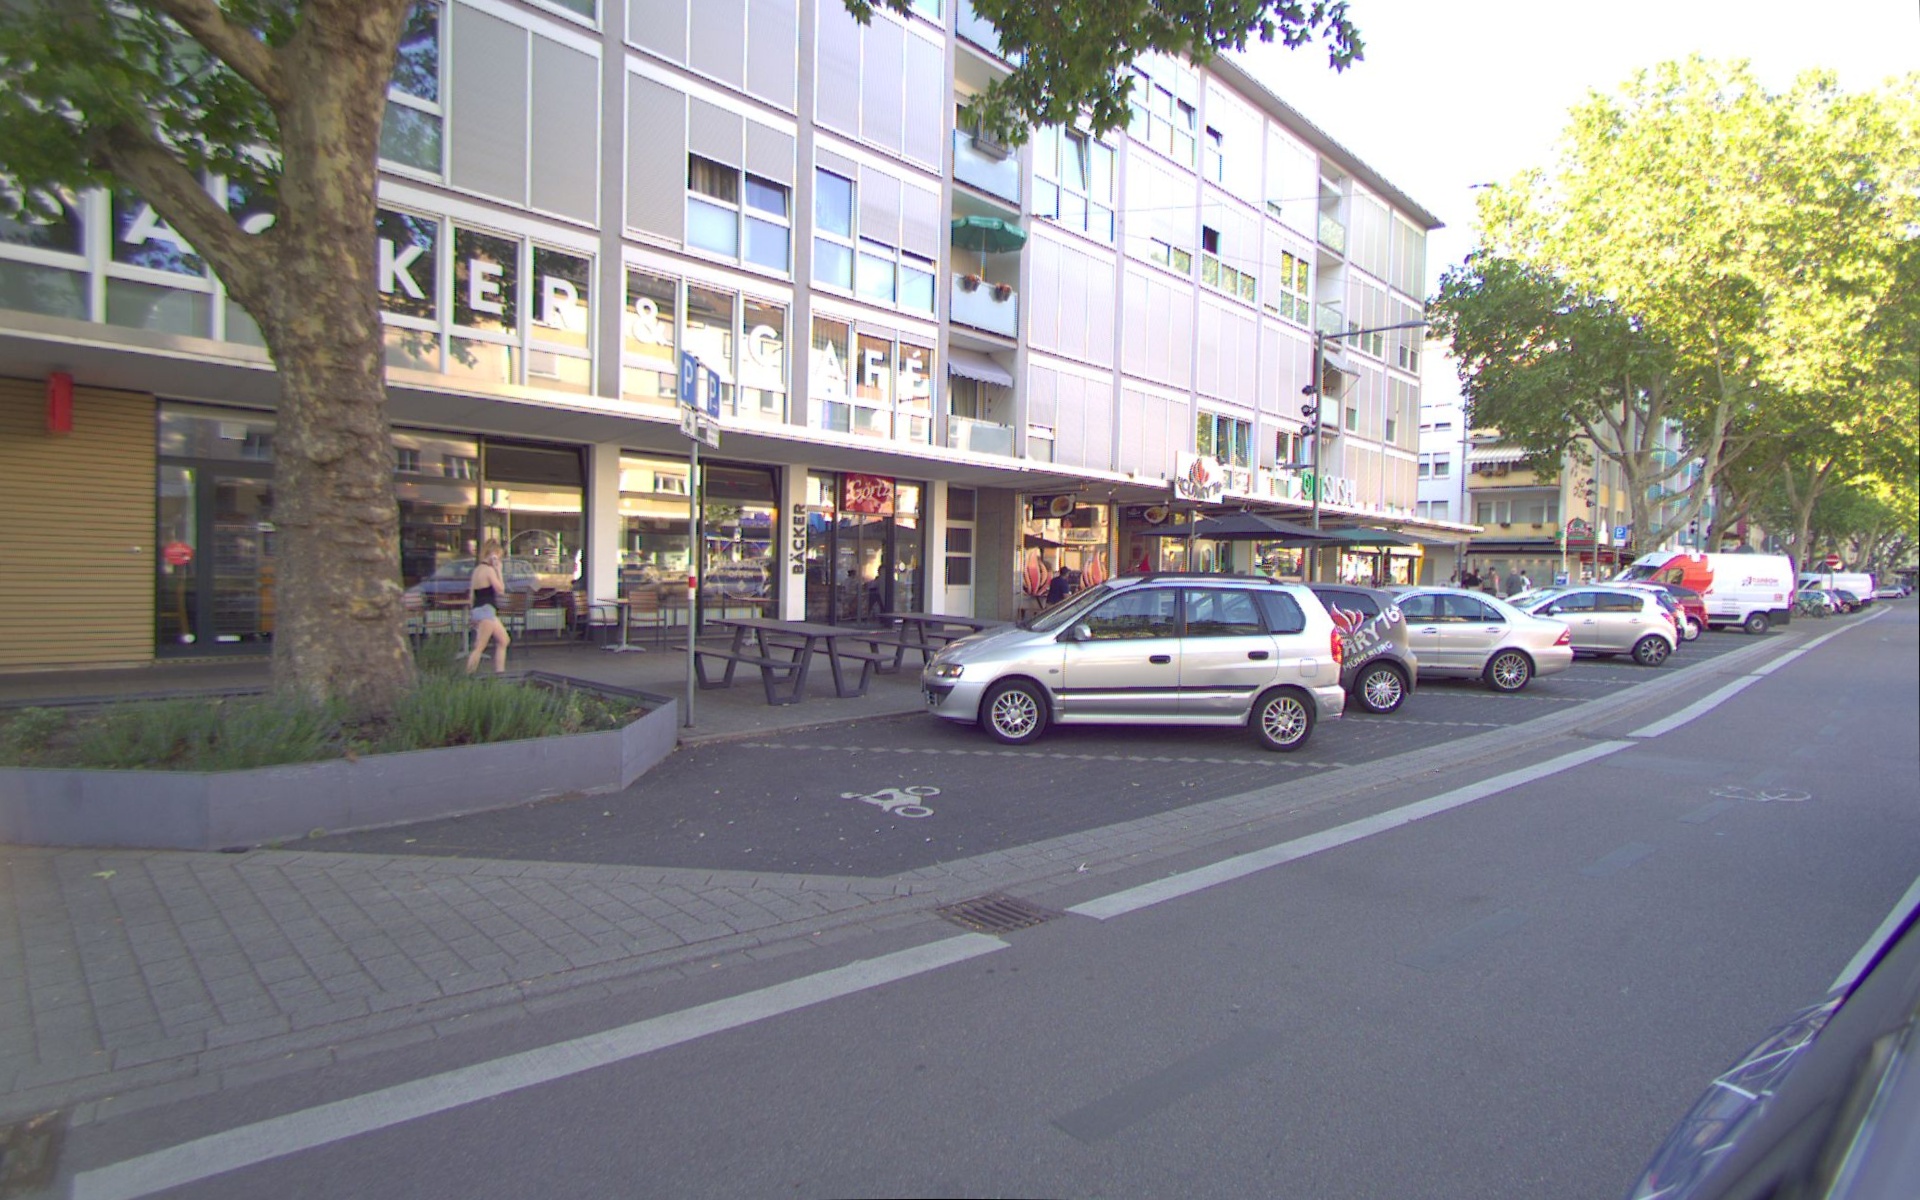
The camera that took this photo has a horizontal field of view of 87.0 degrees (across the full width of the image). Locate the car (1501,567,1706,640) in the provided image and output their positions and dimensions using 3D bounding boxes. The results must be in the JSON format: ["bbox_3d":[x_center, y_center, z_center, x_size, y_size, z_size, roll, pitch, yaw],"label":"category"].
[{"bbox_3d":[15.898,0.047,25.215,3.888,1.445,1.669,4,5,17],"label":"car"}]

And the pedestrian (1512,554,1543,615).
[{"bbox_3d":[19.267,-0.518,34.385,0.746,2.038,0.550,3,2,45],"label":"pedestrian"}]

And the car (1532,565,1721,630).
[{"bbox_3d":[18.074,-0.104,27.642,3.888,1.445,1.669,4,5,17],"label":"car"}]

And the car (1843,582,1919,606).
[{"bbox_3d":[56.529,-0.376,61.577,3.864,1.350,1.782,1,2,3],"label":"car"}]

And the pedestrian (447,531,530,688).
[{"bbox_3d":[-4.985,0.083,10.704,0.559,1.596,0.632,2,2,44],"label":"pedestrian"}]

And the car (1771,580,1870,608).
[{"bbox_3d":[48.057,-0.352,56.589,3.864,1.422,1.782,1,2,3],"label":"car"}]

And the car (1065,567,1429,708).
[{"bbox_3d":[3.357,0.406,12.336,3.864,1.446,1.679,2,3,-3],"label":"car"}]

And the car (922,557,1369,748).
[{"bbox_3d":[1.627,0.441,9.805,3.906,1.560,1.679,2,3,-3],"label":"car"}]

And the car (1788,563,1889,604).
[{"bbox_3d":[56.474,-1.077,65.129,4.512,2.499,1.977,1,2,3],"label":"car"}]

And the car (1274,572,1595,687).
[{"bbox_3d":[6.808,0.389,14.811,3.867,1.418,1.598,2,3,1],"label":"car"}]

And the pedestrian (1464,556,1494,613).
[{"bbox_3d":[18.389,-0.555,35.869,0.746,2.000,0.566,3,2,45],"label":"pedestrian"}]

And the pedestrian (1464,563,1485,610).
[{"bbox_3d":[19.353,-0.523,38.087,0.544,1.741,0.450,2,2,45],"label":"pedestrian"}]

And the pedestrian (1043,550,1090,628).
[{"bbox_3d":[2.248,-0.239,21.373,0.757,1.602,0.583,0,2,-39],"label":"pedestrian"}]

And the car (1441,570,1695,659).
[{"bbox_3d":[11.783,0.244,19.805,3.871,1.446,1.559,3,3,4],"label":"car"}]

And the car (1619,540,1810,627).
[{"bbox_3d":[23.807,-0.532,32.062,4.514,2.525,1.675,2,1,5],"label":"car"}]

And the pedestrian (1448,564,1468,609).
[{"bbox_3d":[18.923,-0.519,38.470,0.536,1.660,0.470,2,2,45],"label":"pedestrian"}]

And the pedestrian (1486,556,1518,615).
[{"bbox_3d":[18.884,-0.516,35.246,0.746,2.038,0.752,3,2,45],"label":"pedestrian"}]

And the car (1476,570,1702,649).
[{"bbox_3d":[13.962,0.154,22.714,3.886,1.446,1.670,3,3,16],"label":"car"}]
